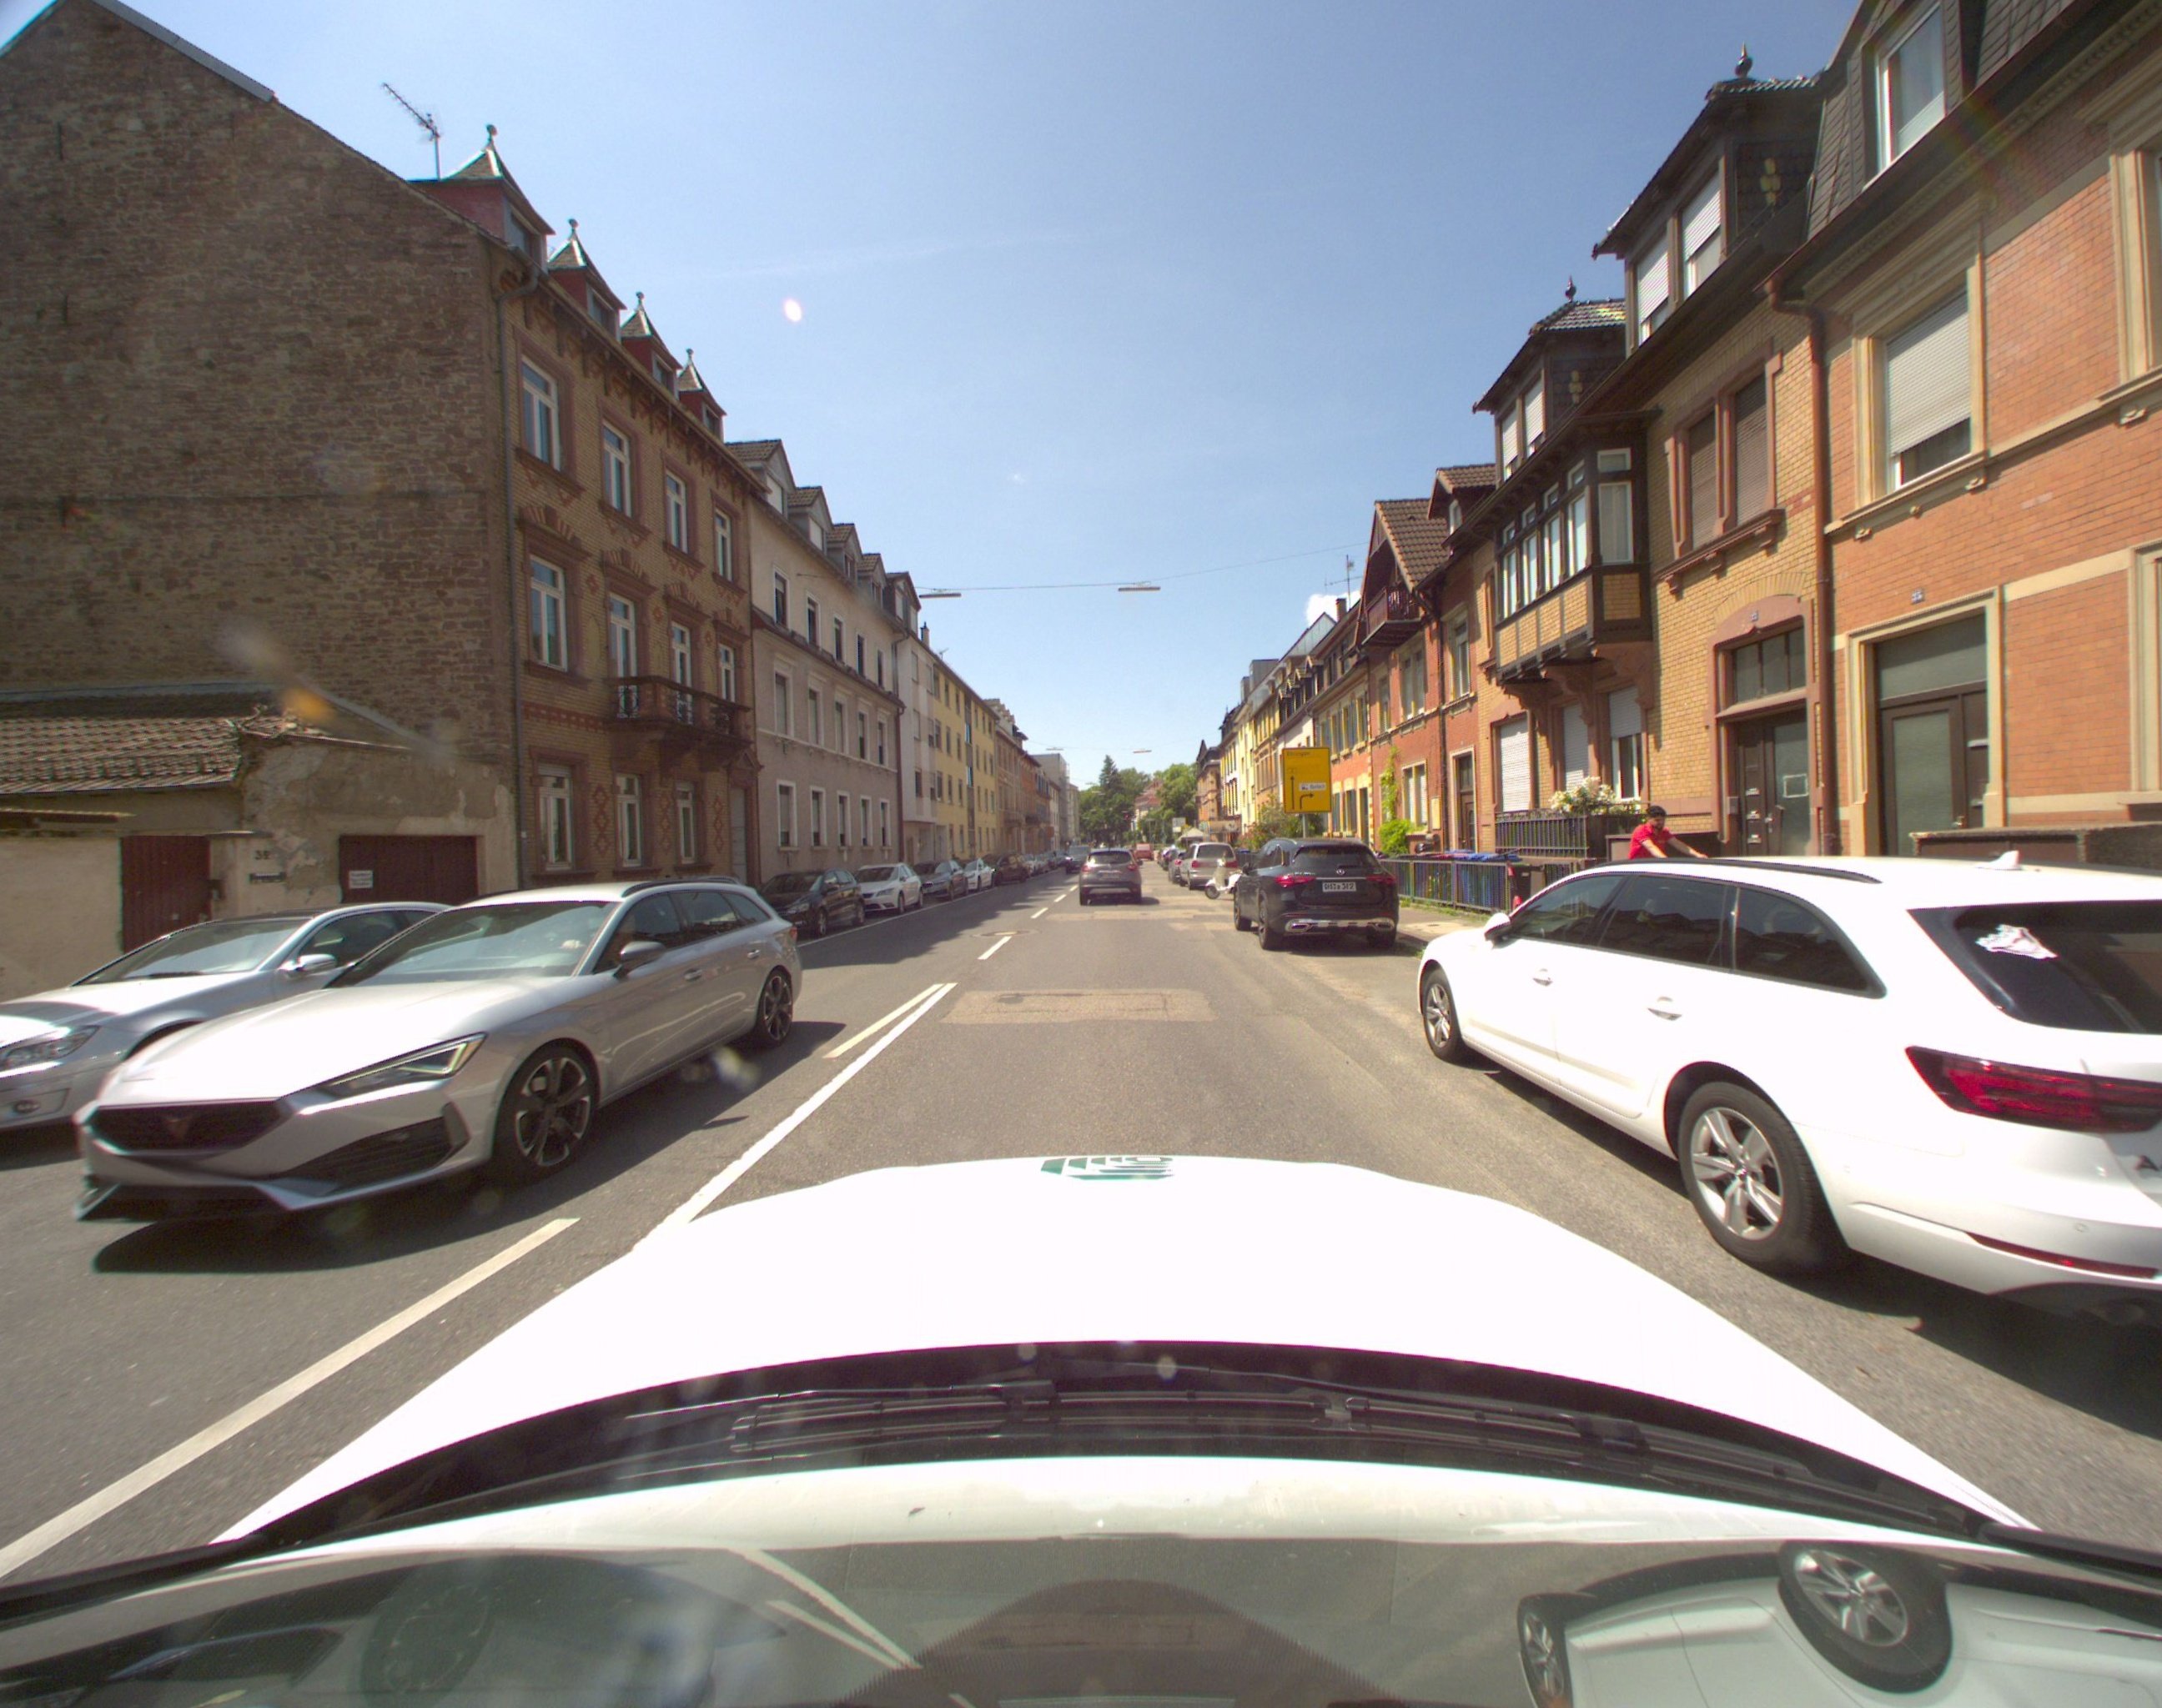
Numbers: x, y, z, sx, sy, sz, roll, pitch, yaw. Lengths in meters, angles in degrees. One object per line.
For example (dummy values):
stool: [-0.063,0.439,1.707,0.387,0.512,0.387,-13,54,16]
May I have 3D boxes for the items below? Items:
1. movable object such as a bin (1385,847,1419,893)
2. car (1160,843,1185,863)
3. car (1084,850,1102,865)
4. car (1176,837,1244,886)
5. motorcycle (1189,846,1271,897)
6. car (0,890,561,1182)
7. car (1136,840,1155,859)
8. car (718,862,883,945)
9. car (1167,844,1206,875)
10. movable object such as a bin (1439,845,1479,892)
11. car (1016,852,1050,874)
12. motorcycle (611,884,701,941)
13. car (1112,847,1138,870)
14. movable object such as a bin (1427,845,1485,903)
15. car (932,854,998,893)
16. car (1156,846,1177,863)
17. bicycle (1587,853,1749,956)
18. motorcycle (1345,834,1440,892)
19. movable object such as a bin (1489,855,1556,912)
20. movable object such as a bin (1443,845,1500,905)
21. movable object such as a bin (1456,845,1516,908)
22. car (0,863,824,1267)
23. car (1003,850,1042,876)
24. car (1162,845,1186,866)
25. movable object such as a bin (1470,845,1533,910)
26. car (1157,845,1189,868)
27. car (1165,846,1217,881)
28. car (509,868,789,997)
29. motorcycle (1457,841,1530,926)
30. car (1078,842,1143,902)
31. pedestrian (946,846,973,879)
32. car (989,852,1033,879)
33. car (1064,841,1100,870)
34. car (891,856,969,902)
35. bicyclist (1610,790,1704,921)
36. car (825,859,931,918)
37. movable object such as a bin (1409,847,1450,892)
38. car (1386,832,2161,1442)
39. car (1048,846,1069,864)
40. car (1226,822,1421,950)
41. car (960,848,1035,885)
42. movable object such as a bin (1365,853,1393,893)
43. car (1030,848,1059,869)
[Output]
movable object such as a bin: [7.781,0.372,19.753,0.554,1.076,0.728,-2,0,4]
car: [7.301,-0.064,65.390,1.852,1.553,4.005,0,1,4]
car: [1.219,0.346,83.687,1.810,1.388,4.000,-2,0,0]
car: [4.810,0.238,30.991,1.854,1.747,4.618,0,1,0]
motorcycle: [4.245,0.500,23.255,1.971,1.385,1.120,-1,0,41]
car: [-6.812,1.171,6.803,1.833,1.422,4.504,-4,0,2]
car: [7.350,-0.533,92.477,1.983,2.013,4.475,-3,0,7]
car: [-6.167,1.010,18.551,1.832,1.422,4.507,-6,0,4]
car: [5.408,0.251,42.224,1.688,1.487,4.622,0,1,3]
movable object such as a bin: [9.127,0.339,19.673,0.606,1.076,0.762,-2,0,4]
car: [-3.464,0.625,59.498,1.897,1.401,4.759,-4,0,3]
motorcycle: [-8.946,1.201,17.242,0.709,1.053,1.939,-1,0,6]
car: [3.385,0.317,63.381,1.805,1.620,4.443,-3,0,1]
movable object such as a bin: [7.377,0.387,16.046,0.785,1.088,0.686,-2,0,0]
car: [-4.950,0.805,35.473,1.832,1.422,4.563,-5,0,4]
car: [7.917,0.041,75.721,1.606,1.443,3.437,-1,0,1]
bicycle: [6.806,0.533,9.578,0.591,1.066,1.884,-2,0,3]
motorcycle: [8.338,0.233,21.851,2.121,1.408,0.938,-4,0,2]
movable object such as a bin: [7.339,0.481,13.561,0.785,0.907,0.539,-2,0,-1]
movable object such as a bin: [7.360,0.384,15.372,0.785,1.088,0.554,-2,0,-1]
movable object such as a bin: [7.344,0.402,14.787,0.785,1.088,0.543,-2,0,-1]
car: [-3.430,0.882,5.432,1.783,1.420,4.318,-4,1,3]
car: [-3.800,0.548,53.304,1.897,1.510,4.306,-4,0,3]
car: [6.940,0.089,61.080,1.652,1.441,4.005,0,1,4]
movable object such as a bin: [7.330,0.398,14.211,0.785,1.088,0.539,-2,0,-1]
car: [6.079,0.156,54.176,1.853,1.465,4.622,0,1,3]
car: [4.847,0.386,36.401,1.853,1.487,4.311,0,1,1]
car: [-6.460,1.071,12.901,1.833,1.422,4.503,-6,0,1]
motorcycle: [6.474,0.435,12.833,0.438,1.237,1.359,-3,0,2]
car: [0.911,0.465,24.099,1.737,1.616,4.003,-1,1,3]
pedestrian: [-6.540,0.460,43.894,1.146,1.750,0.971,-2,0,5]
car: [-4.121,0.634,48.398,1.896,1.379,4.065,-4,0,4]
car: [0.118,0.072,55.545,1.984,1.792,5.156,-3,0,5]
car: [-5.383,0.835,29.699,1.833,1.422,4.646,-4,0,1]
bicyclist: [6.798,0.012,9.650,0.530,1.469,0.791,-2,0,3]
car: [-5.784,0.930,23.773,1.833,1.422,4.502,-4,0,1]
movable object such as a bin: [8.424,0.373,19.705,0.656,1.055,0.749,-2,0,4]
car: [3.207,0.653,4.216,1.709,1.414,4.593,-2,0,3]
car: [-2.197,0.124,80.251,1.899,1.619,4.301,-4,0,-1]
car: [3.714,0.429,13.416,1.985,1.662,4.628,-2,0,3]
car: [-4.221,0.591,41.813,1.888,1.637,4.581,-4,0,20]
movable object such as a bin: [7.224,0.458,19.771,0.479,0.941,0.527,-2,0,4]
car: [-3.045,0.361,68.891,1.897,1.619,4.305,-4,0,2]
